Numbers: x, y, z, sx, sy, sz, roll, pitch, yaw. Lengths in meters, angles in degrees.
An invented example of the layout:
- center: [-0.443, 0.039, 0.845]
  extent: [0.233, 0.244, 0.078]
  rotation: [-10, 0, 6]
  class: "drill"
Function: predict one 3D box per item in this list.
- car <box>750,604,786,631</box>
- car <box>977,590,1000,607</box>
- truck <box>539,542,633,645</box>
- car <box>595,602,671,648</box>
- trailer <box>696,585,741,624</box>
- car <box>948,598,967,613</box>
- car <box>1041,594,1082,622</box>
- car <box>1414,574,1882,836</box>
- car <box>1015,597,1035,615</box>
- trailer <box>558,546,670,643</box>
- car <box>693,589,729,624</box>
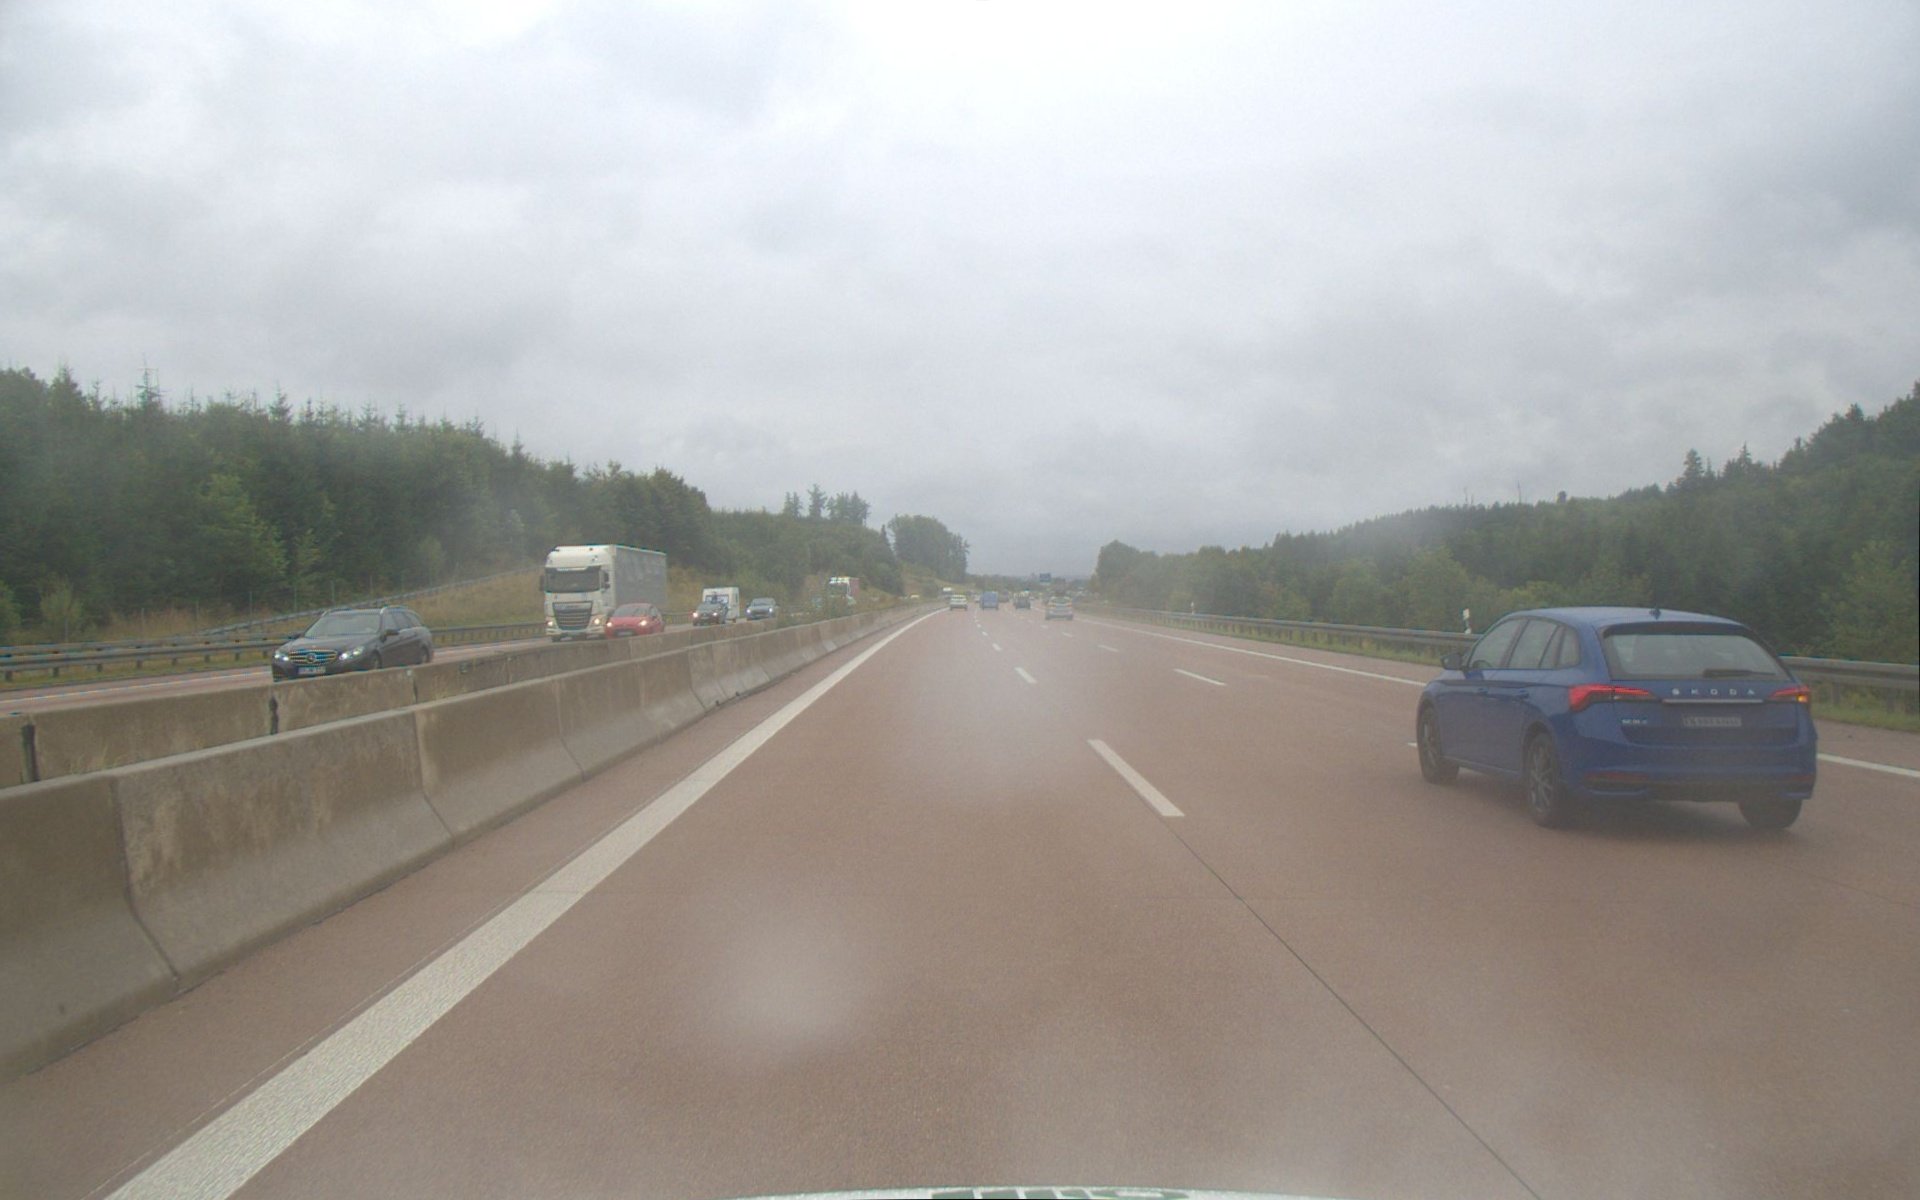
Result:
- center: [-12.325, 1.095, 106.704]
  extent: [1.657, 1.584, 5.676]
  rotation: [-2, 0, -1]
  class: "car"
- center: [3.141, -0.109, 186.025]
  extent: [2.276, 1.780, 4.874]
  rotation: [1, -1, -2]
  class: "car"
- center: [-16.282, -0.237, 72.365]
  extent: [2.712, 4.249, 6.000]
  rotation: [-1, -1, -1]
  class: "truck"
- center: [-11.968, 0.915, 60.734]
  extent: [1.953, 1.572, 4.279]
  rotation: [-2, -1, -1]
  class: "car"
- center: [-16.485, 0.290, 113.224]
  extent: [2.231, 2.453, 5.437]
  rotation: [-3, 0, -1]
  class: "trailer"
- center: [-0.304, 0.615, 172.479]
  extent: [1.836, 1.470, 4.874]
  rotation: [1, -1, -2]
  class: "car"
- center: [6.848, 0.564, 112.182]
  extent: [2.276, 1.780, 4.874]
  rotation: [1, -1, -2]
  class: "car"
- center: [4.835, 0.687, 12.318]
  extent: [1.735, 1.591, 4.145]
  rotation: [1, -1, 0]
  class: "car"
- center: [7.804, 0.697, 198.365]
  extent: [1.954, 2.049, 3.997]
  rotation: [1, -1, -3]
  class: "car"
- center: [-16.346, -0.130, 79.097]
  extent: [2.683, 4.212, 12.752]
  rotation: [-2, -1, -1]
  class: "trailer"
- center: [-16.260, 0.411, 108.259]
  extent: [1.722, 2.190, 4.427]
  rotation: [-2, 0, -2]
  class: "car"
